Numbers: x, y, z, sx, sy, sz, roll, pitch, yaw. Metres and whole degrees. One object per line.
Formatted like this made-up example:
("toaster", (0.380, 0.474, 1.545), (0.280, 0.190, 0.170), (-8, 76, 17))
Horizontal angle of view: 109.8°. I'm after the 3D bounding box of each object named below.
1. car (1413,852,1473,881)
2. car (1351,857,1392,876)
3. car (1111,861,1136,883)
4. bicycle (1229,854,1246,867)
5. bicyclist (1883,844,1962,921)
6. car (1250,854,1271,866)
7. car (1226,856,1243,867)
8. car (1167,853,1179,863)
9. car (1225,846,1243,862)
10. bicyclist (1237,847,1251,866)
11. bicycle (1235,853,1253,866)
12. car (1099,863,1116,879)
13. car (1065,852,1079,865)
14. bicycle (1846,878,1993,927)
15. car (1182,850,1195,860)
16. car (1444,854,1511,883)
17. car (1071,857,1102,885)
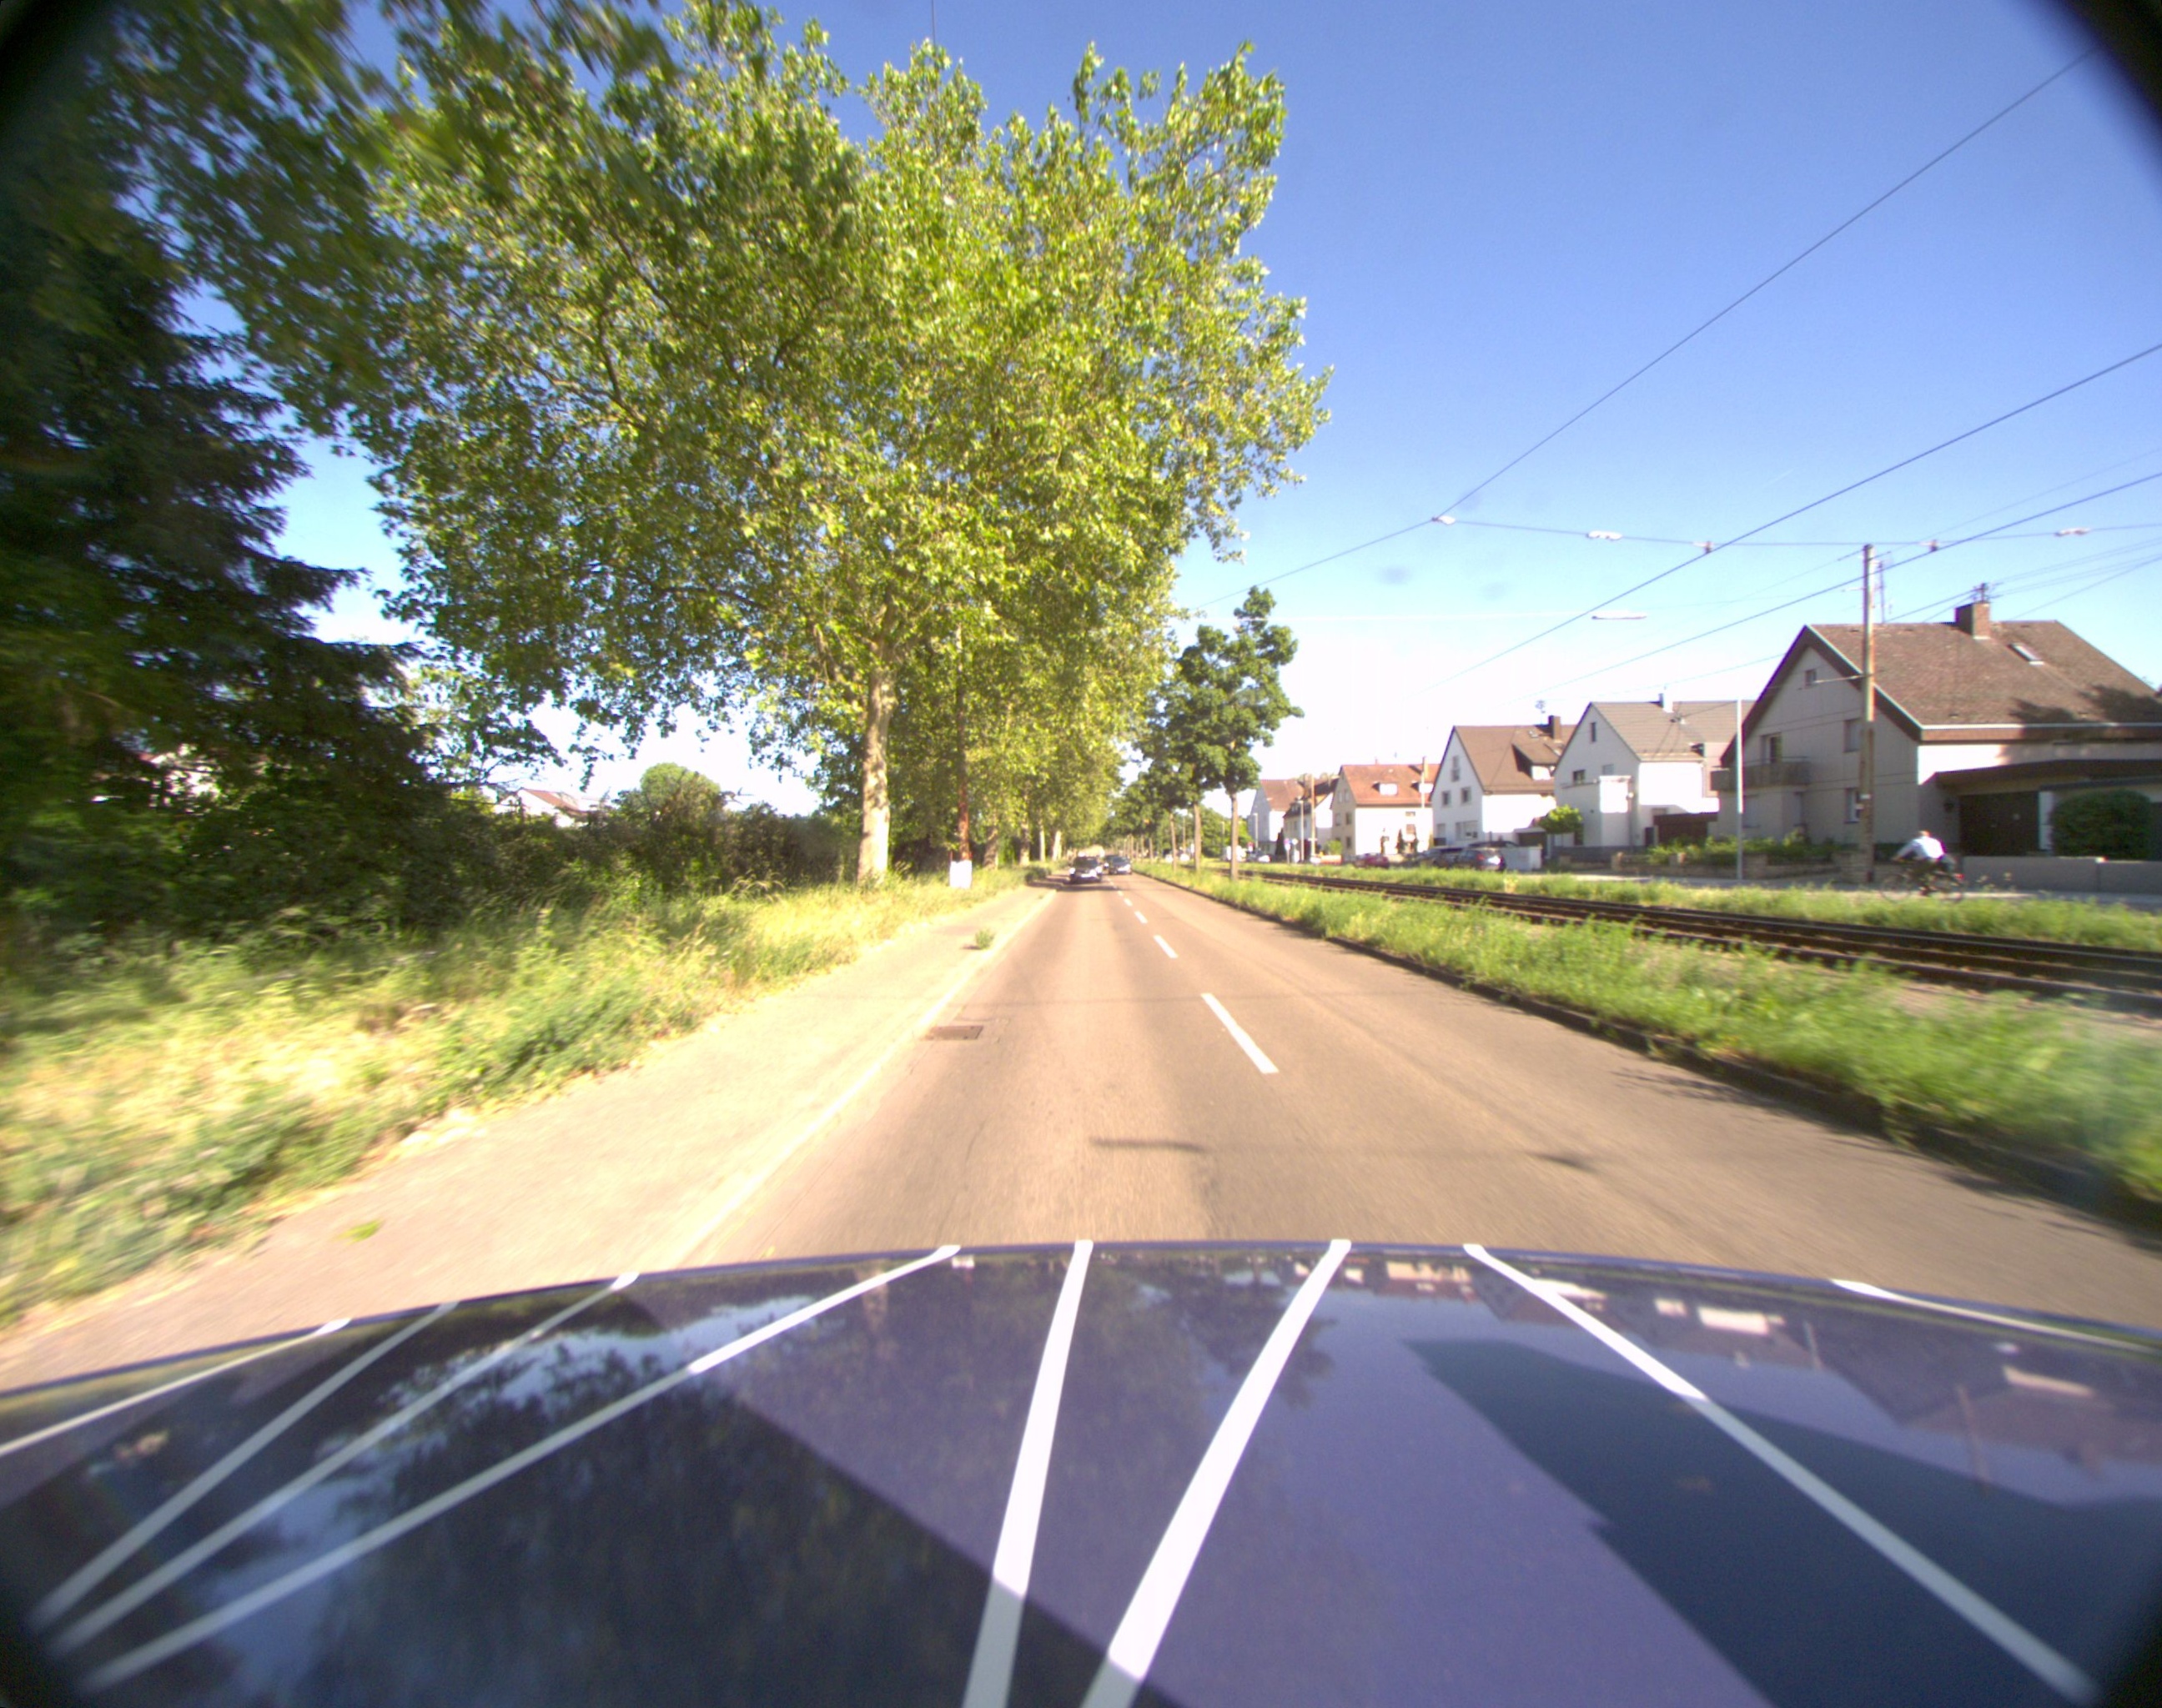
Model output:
("car", (22.006, 0.738, 46.369), (1.802, 1.588, 4.012), (-2, 0, 1))
("car", (22.385, 0.945, 58.725), (1.756, 1.373, 3.823), (-2, 0, 1))
("car", (3.171, 1.359, 57.273), (1.692, 1.499, 3.582), (-2, 0, 1))
("bicycle", (20.468, 0.866, 99.292), (1.354, 1.568, 4.000), (-2, 0, 1))
("bicyclist", (19.193, 0.635, 17.344), (0.854, 1.664, 0.836), (-2, 1, -2))
("car", (22.733, 0.739, 96.333), (1.791, 1.497, 4.000), (-2, 0, 1))
("car", (22.269, 1.042, 110.324), (1.791, 1.497, 4.001), (-2, 0, 4))
("car", (20.017, 0.811, 164.978), (2.133, 2.023, 4.000), (-2, 0, 0))
("car", (23.132, -0.028, 115.249), (2.132, 2.210, 4.001), (-2, 0, 4))
("bicyclist", (20.335, 0.322, 94.858), (1.310, 2.220, 1.623), (-2, 1, 1))
("bicycle", (20.365, 0.691, 94.918), (1.354, 1.486, 4.000), (-2, 0, 1))
("car", (2.868, 1.838, 82.282), (1.692, 1.499, 3.582), (-2, 0, 1))
("car", (-1.134, 0.559, 98.178), (1.692, 1.499, 3.582), (-2, 0, 1))
("bicycle", (19.198, 1.086, 17.500), (0.854, 0.945, 2.309), (-2, 0, 1))
("car", (23.332, 0.287, 164.880), (2.133, 2.023, 4.000), (-2, 0, 0))
("car", (21.911, 0.775, 42.121), (1.738, 1.481, 3.756), (-2, 0, 1))
("car", (0.324, 0.926, 43.381), (1.692, 1.499, 3.582), (1, 0, 1))
